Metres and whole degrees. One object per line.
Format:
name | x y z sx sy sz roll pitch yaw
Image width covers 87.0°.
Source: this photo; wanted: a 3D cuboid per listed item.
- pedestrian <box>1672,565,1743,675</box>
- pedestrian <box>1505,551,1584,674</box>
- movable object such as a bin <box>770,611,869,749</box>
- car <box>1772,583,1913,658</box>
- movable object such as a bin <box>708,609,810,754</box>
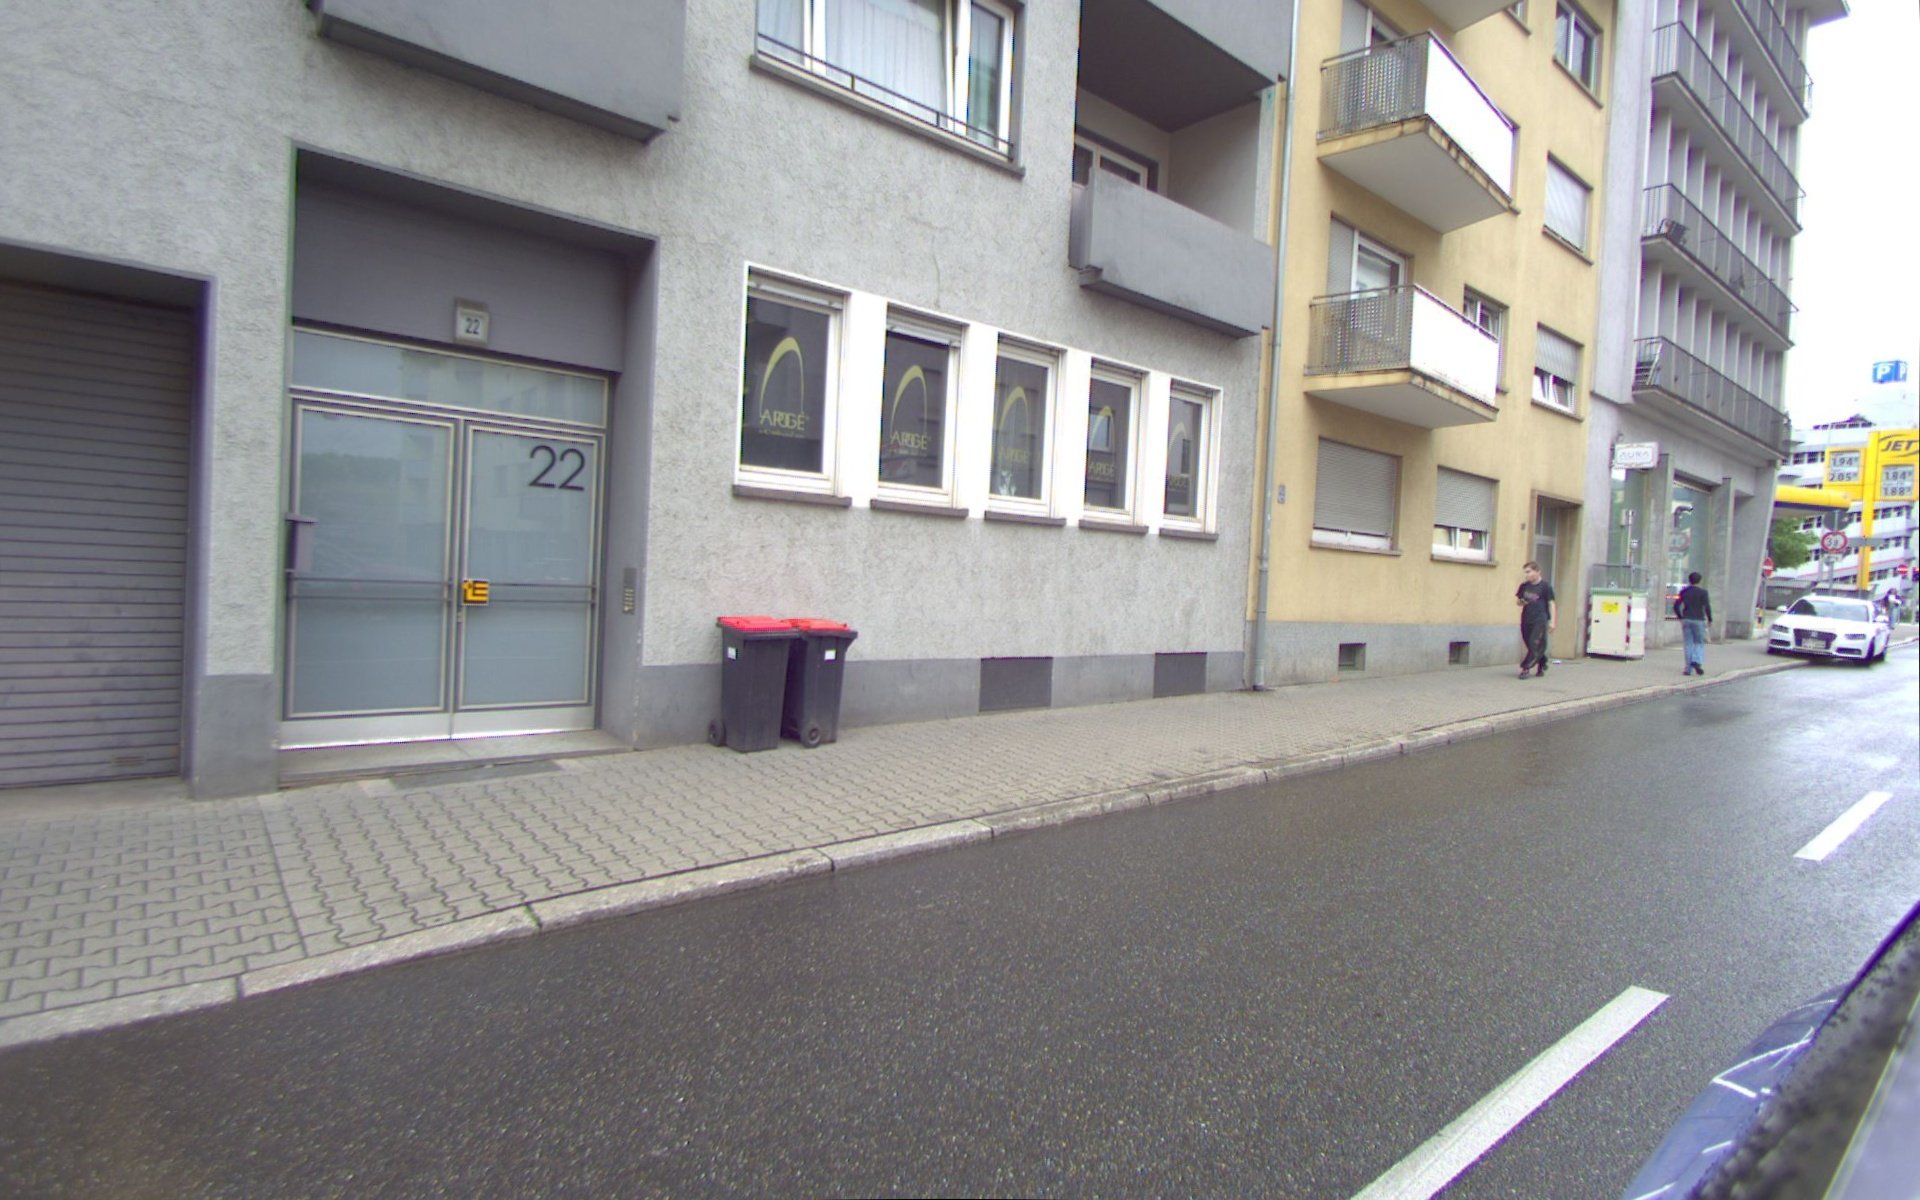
pedestrian | 12.884 0.333 17.440 1.038 1.799 0.644 0 5 -41
pedestrian | 8.812 0.175 15.252 0.872 1.777 0.679 0 2 -37
movable object such as a bin | -1.084 0.594 7.783 0.506 0.961 0.541 0 5 -40
car | 20.108 0.408 23.003 4.093 1.453 1.803 0 4 -41
movable object such as a bin | -1.479 0.574 7.434 0.506 0.967 0.541 0 5 -40
